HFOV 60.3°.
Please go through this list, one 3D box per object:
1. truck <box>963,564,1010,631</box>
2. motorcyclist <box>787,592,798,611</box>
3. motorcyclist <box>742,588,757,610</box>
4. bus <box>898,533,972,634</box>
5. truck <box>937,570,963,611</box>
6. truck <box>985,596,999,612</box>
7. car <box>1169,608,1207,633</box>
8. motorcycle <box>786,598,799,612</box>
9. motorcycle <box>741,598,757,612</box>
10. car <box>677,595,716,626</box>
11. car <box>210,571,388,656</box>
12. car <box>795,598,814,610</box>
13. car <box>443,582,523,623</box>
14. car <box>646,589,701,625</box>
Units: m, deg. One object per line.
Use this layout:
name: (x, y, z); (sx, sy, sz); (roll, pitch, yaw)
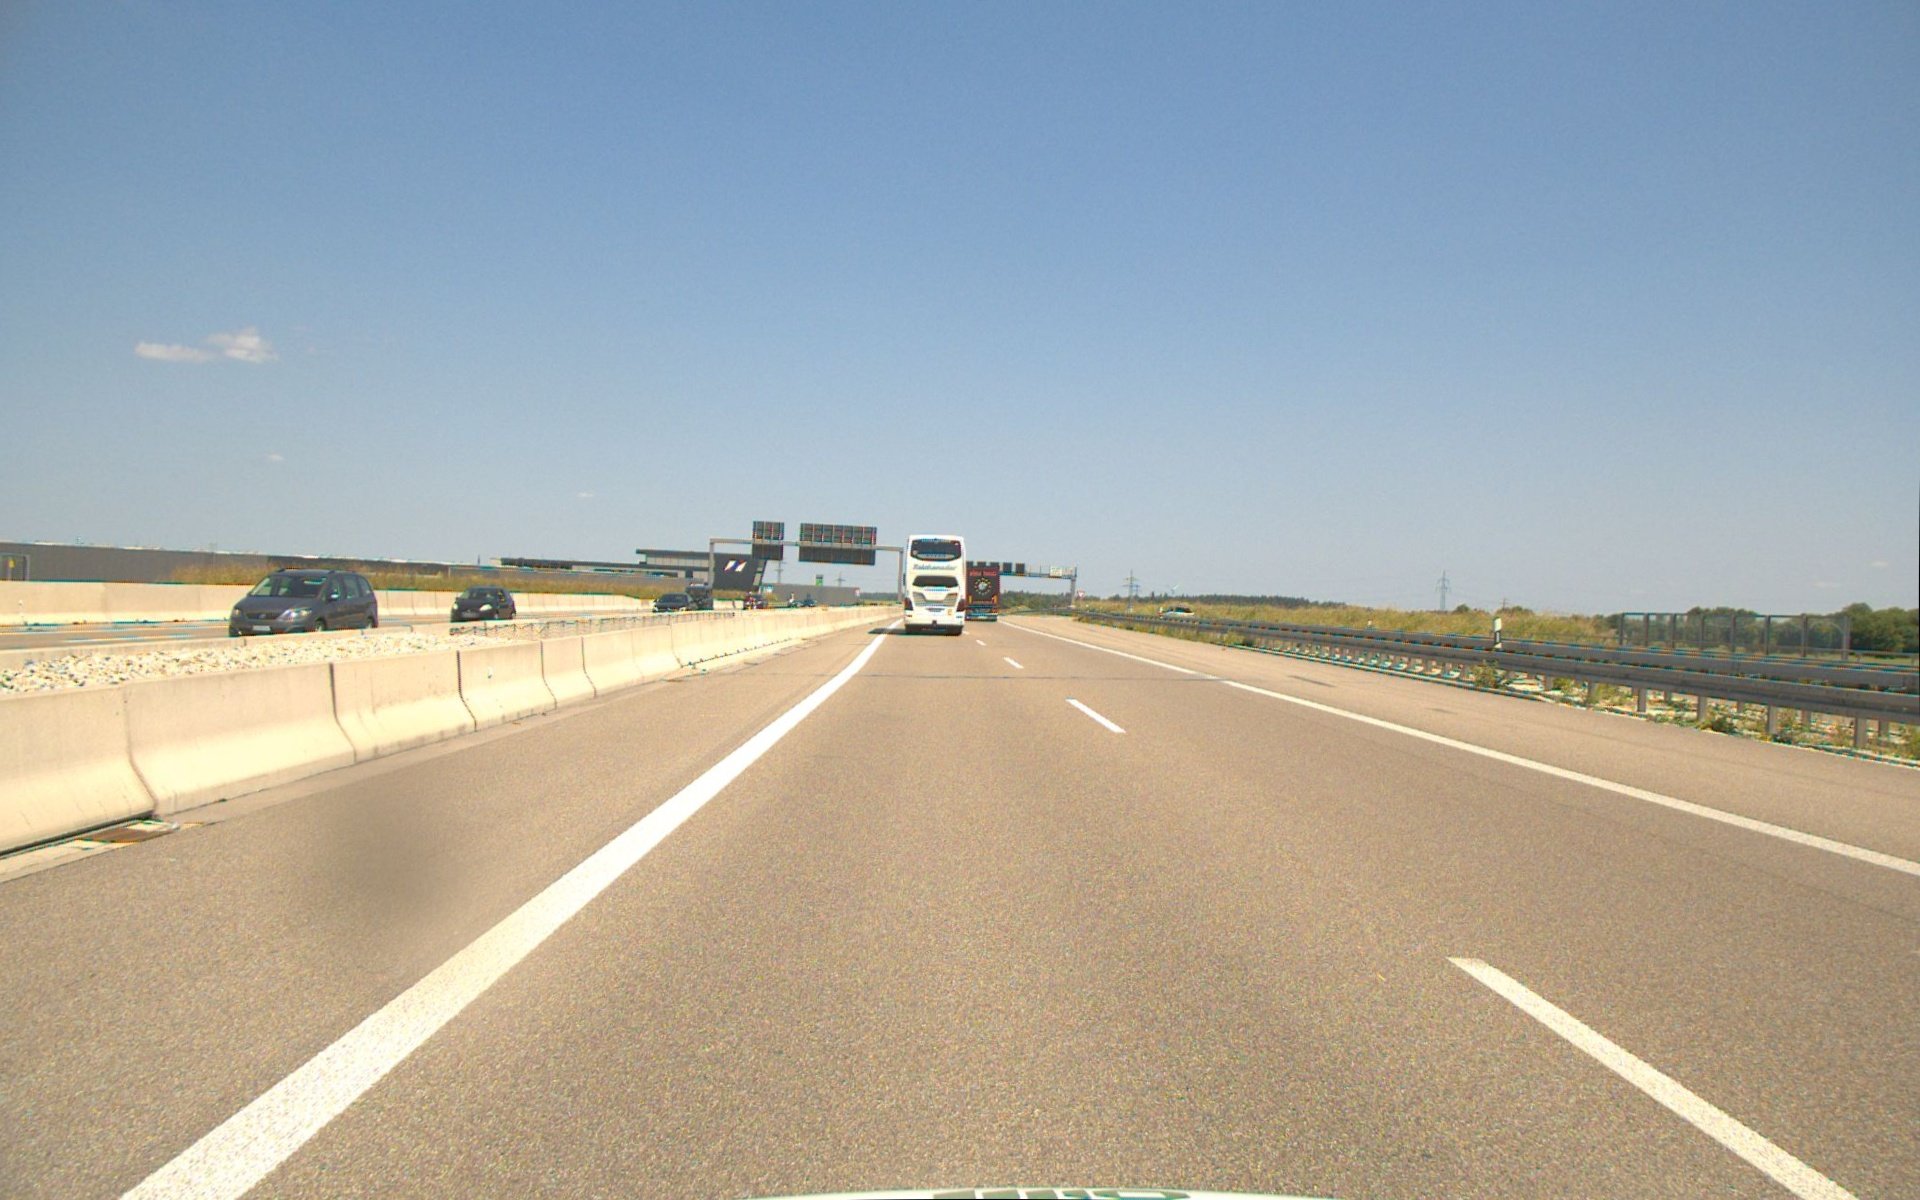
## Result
truck: (2.071, -0.046, 126.633); (3.310, 4.542, 13.567); (2, -2, 1)
motorcyclist: (-15.059, 0.134, 148.907); (0.901, 1.650, 1.088); (1, 0, 0)
motorcyclist: (-14.656, -0.077, 114.961); (0.899, 1.523, 0.923); (1, 0, 0)
bus: (-1.139, -0.702, 71.413); (2.920, 4.044, 9.102); (1, 0, -2)
truck: (-1.026, -0.867, 160.752); (2.388, 3.855, 6.491); (1, 0, -1)
truck: (4.857, 0.556, 251.342); (1.953, 2.384, 4.949); (1, 0, -1)
car: (15.043, 1.337, 109.338); (1.852, 1.556, 4.262); (1, 0, 0)
motorcycle: (-15.076, 0.439, 149.080); (0.938, 1.189, 2.722); (1, 0, 0)
motorcycle: (-14.650, 0.356, 114.905); (0.760, 0.918, 2.705); (1, 0, 0)
car: (-18.045, 0.722, 113.315); (1.846, 2.053, 4.735); (1, 0, 0)
car: (-14.402, 0.272, 36.390); (1.846, 1.716, 5.015); (1, 0, 0)
car: (-19.302, 0.518, 205.704); (1.953, 1.403, 4.363); (1, 0, -1)
car: (-18.010, 0.079, 62.674); (1.871, 1.485, 4.283); (1, 0, -2)
car: (-14.396, 0.342, 83.260); (1.953, 1.698, 4.648); (1, 0, -1)
